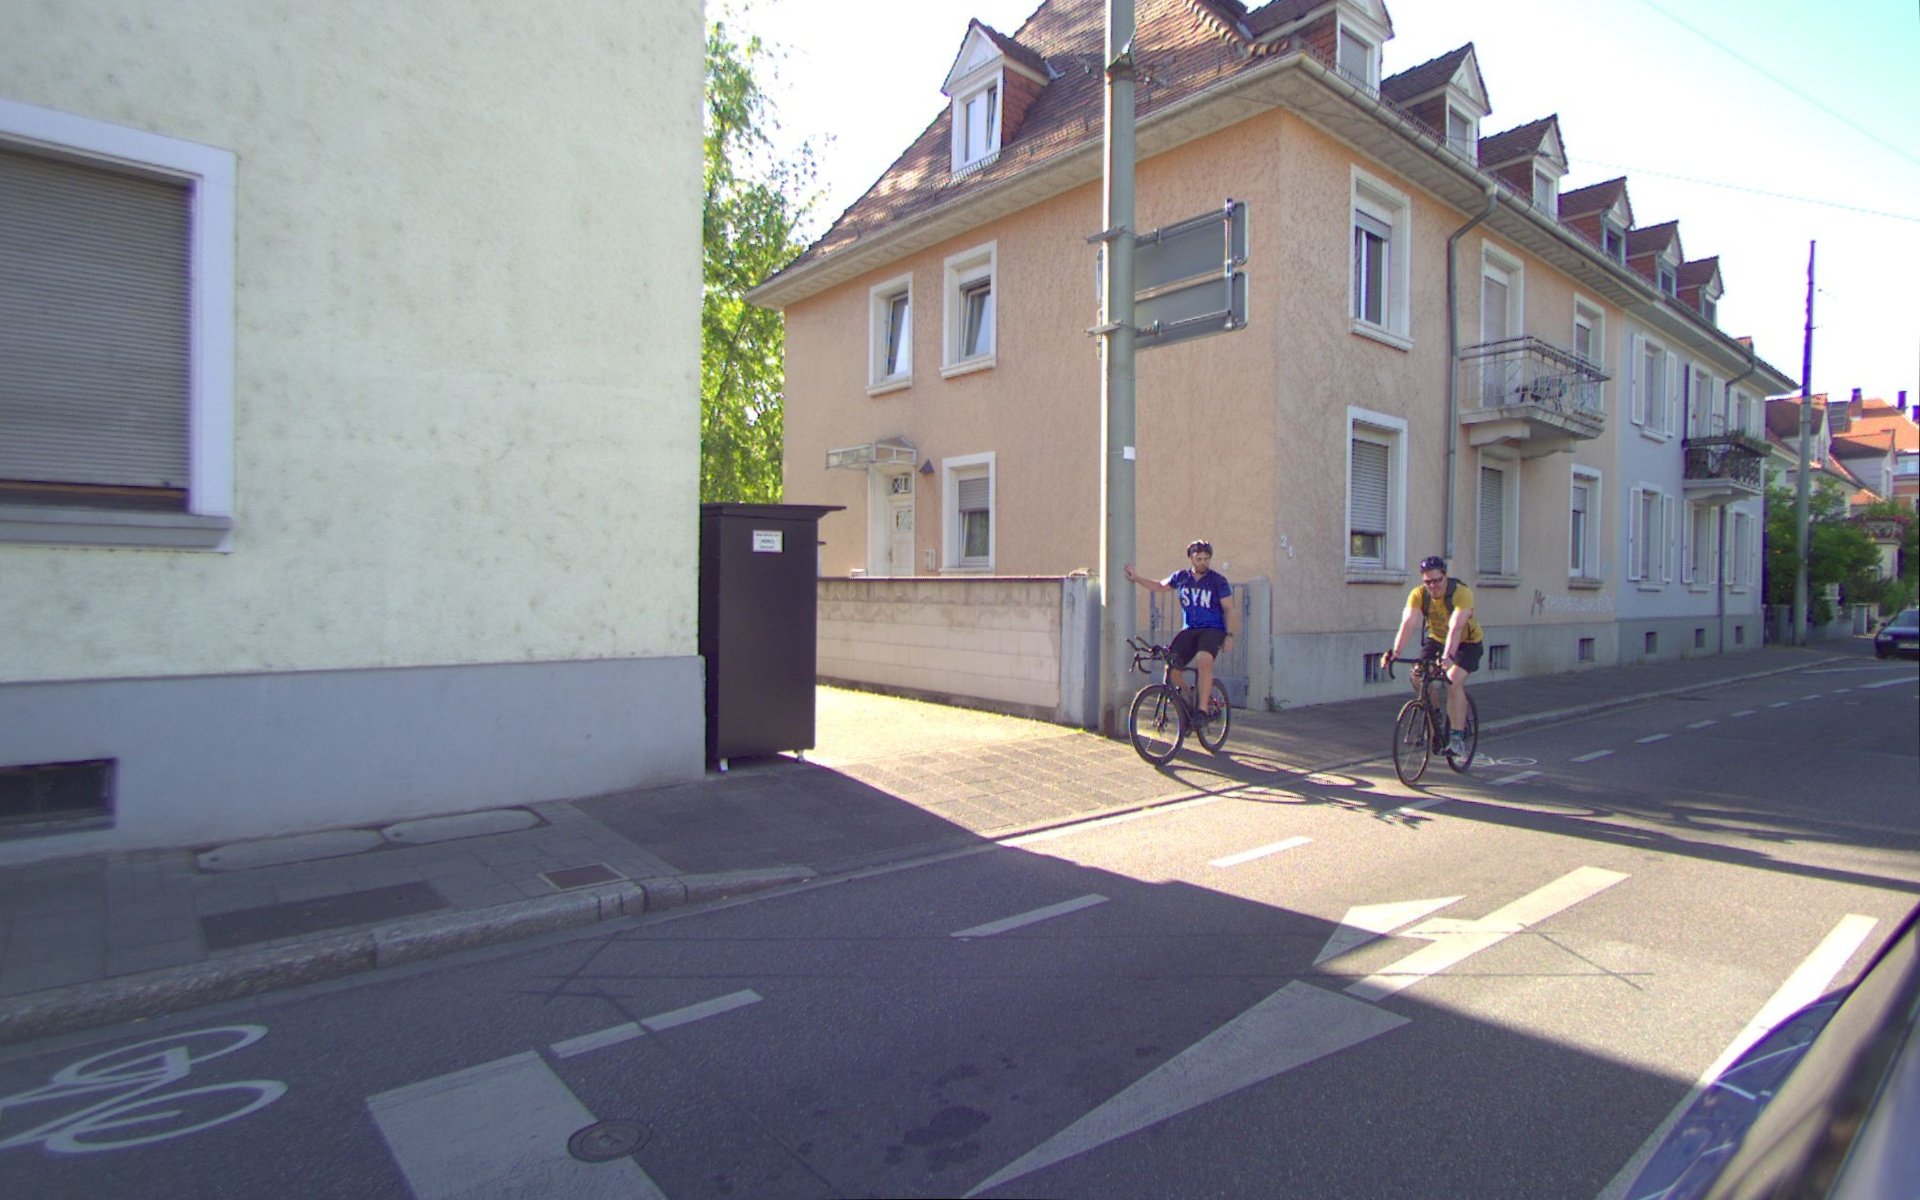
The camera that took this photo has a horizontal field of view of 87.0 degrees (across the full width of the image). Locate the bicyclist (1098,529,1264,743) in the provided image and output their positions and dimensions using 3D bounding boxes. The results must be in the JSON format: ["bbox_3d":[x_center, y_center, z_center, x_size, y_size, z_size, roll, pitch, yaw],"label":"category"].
[{"bbox_3d":[1.998,0.278,9.226,0.838,1.758,1.072,0,6,-40],"label":"bicyclist"}]

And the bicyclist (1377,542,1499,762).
[{"bbox_3d":[4.049,0.402,8.559,0.939,1.743,0.582,0,1,-41],"label":"bicyclist"}]

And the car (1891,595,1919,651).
[{"bbox_3d":[26.637,0.611,27.330,3.932,1.438,1.845,0,1,-42],"label":"car"}]

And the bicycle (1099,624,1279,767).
[{"bbox_3d":[2.057,0.796,8.977,1.689,1.064,0.595,0,6,-41],"label":"bicycle"}]

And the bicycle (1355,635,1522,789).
[{"bbox_3d":[4.079,0.887,8.572,1.778,1.101,0.611,0,1,-41],"label":"bicycle"}]
